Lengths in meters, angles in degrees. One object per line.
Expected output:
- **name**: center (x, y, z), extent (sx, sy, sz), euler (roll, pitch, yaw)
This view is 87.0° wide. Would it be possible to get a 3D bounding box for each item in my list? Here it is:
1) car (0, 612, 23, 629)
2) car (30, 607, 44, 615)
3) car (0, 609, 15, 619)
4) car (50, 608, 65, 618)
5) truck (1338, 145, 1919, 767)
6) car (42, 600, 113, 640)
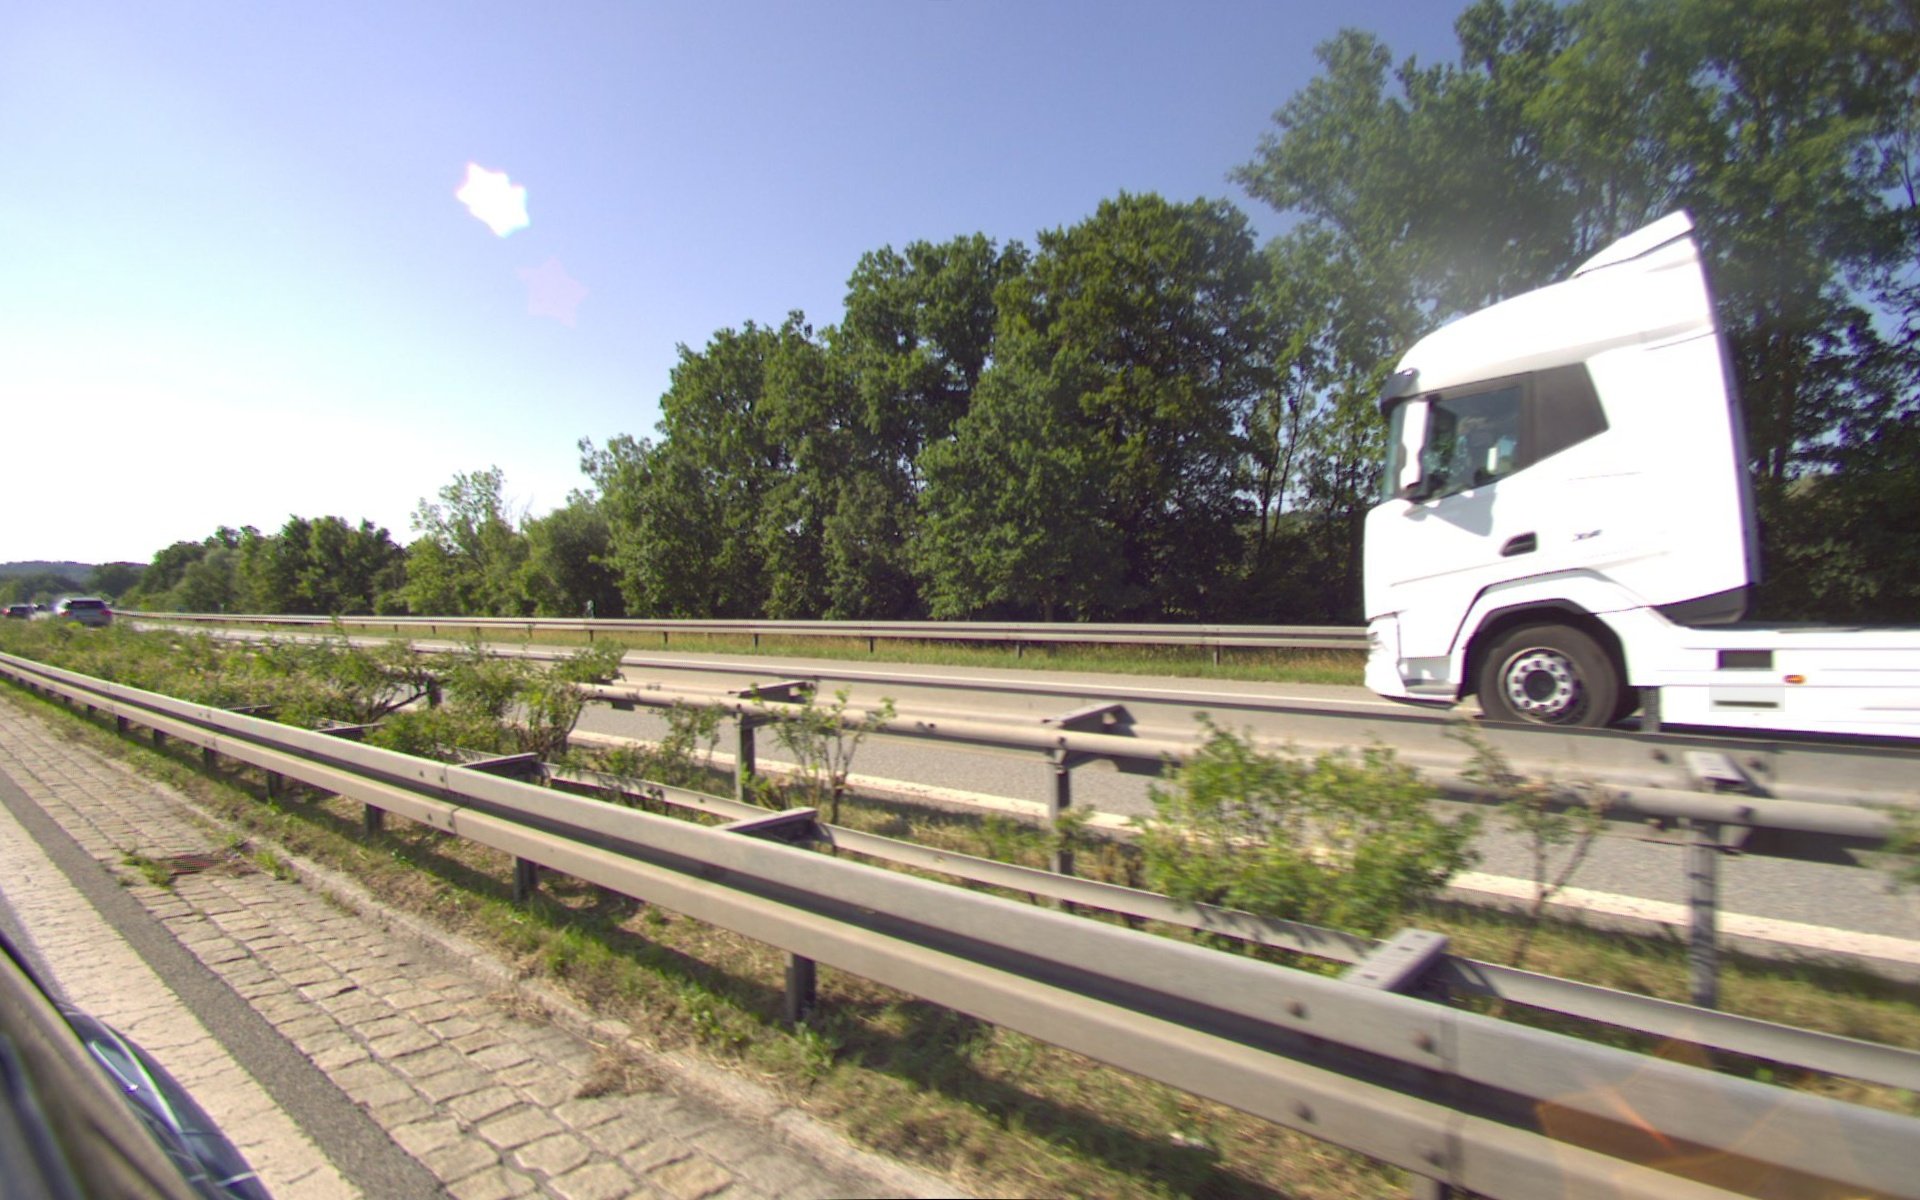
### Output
- **car**: center (-85.391, 1.824, 90.816), extent (4.247, 1.461, 1.641), euler (-1, -3, 44)
- **car**: center (-169.005, 1.981, 185.207), extent (1.752, 1.481, 4.509), euler (0, -1, -44)
- **car**: center (-153.616, 2.279, 162.921), extent (1.909, 1.516, 4.796), euler (2, -2, -44)
- **car**: center (-154.273, 2.296, 173.018), extent (1.831, 1.646, 4.498), euler (2, -2, -43)
- **truck**: center (6.644, -0.878, 7.407), extent (6.807, 3.869, 2.597), euler (-1, -2, 41)
- **car**: center (-37.474, 0.831, 42.935), extent (4.000, 1.619, 1.822), euler (-1, -2, 43)
